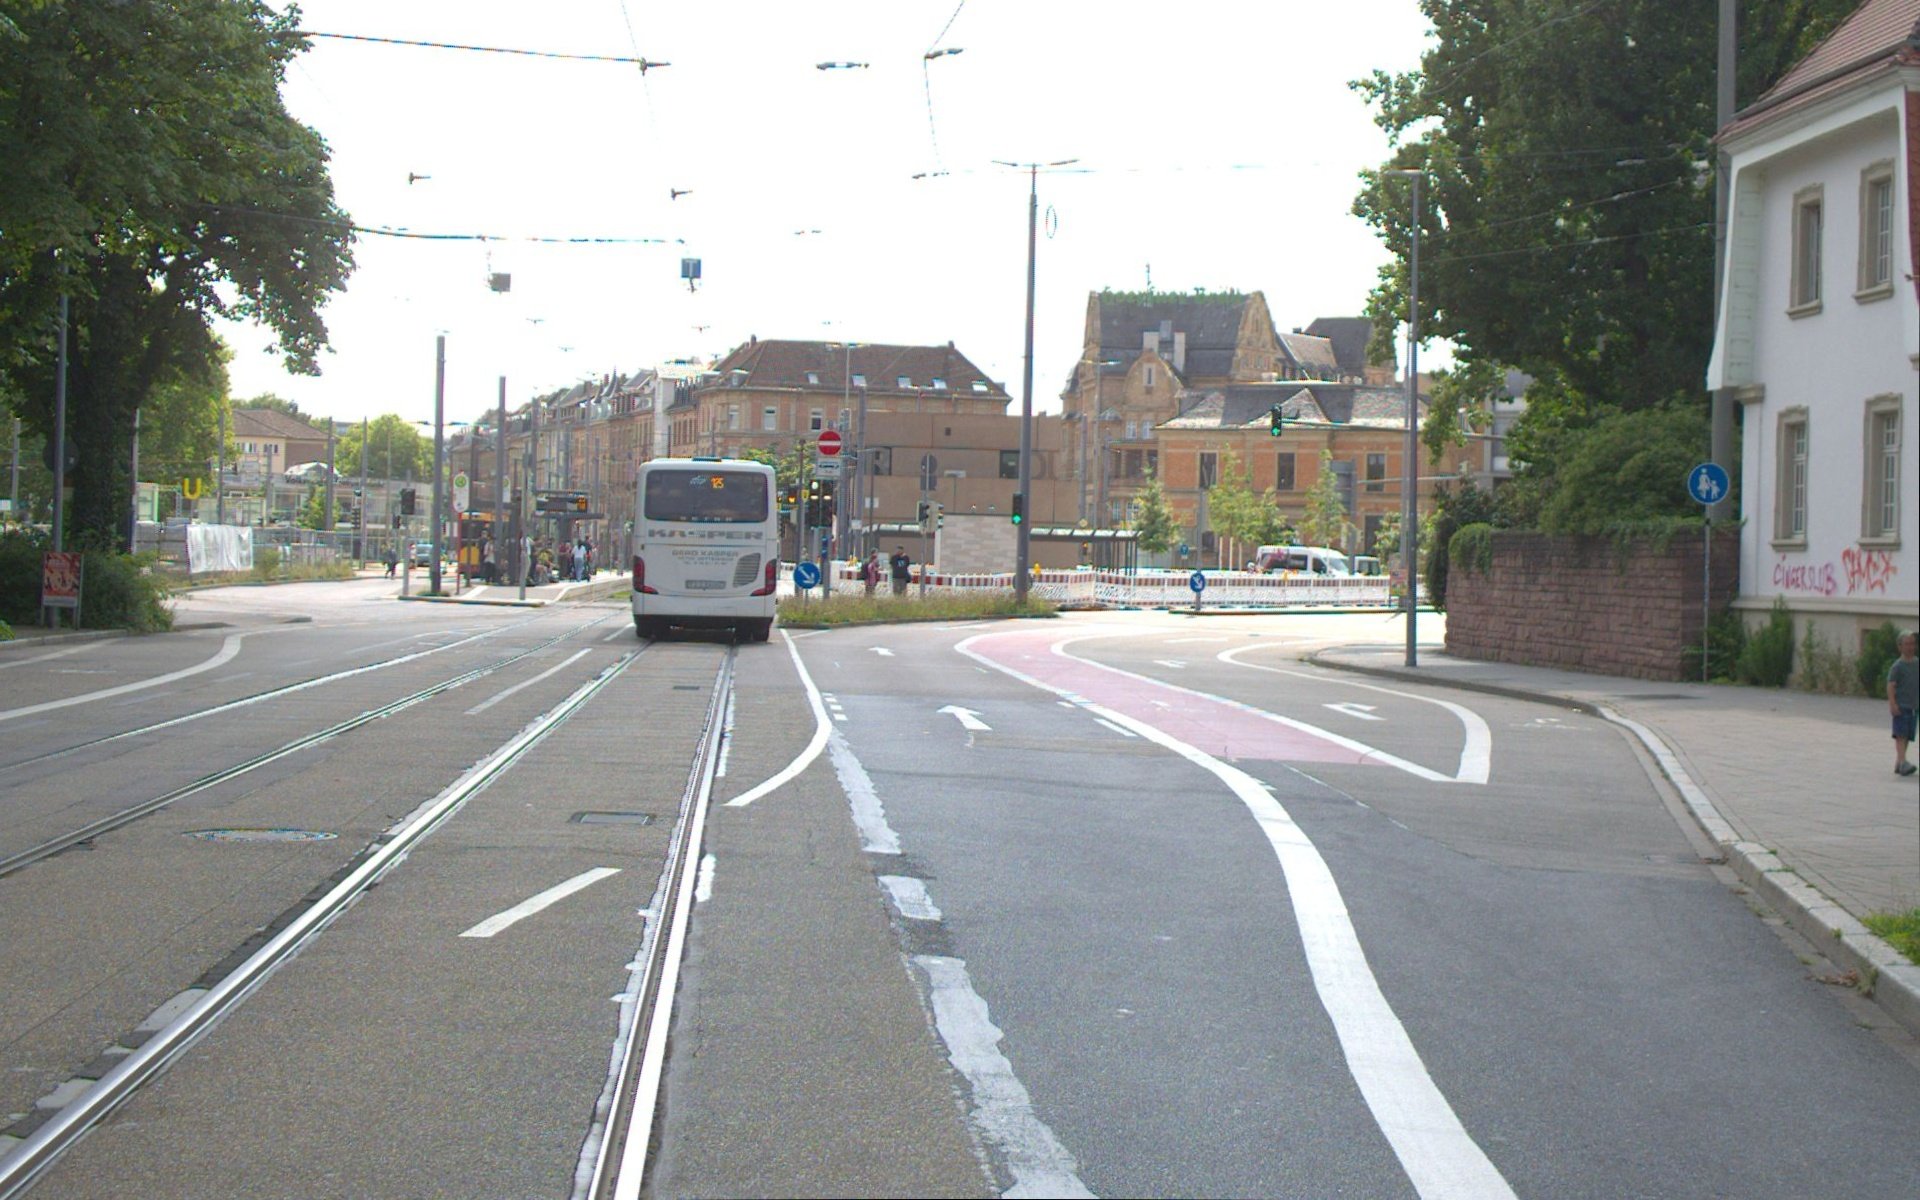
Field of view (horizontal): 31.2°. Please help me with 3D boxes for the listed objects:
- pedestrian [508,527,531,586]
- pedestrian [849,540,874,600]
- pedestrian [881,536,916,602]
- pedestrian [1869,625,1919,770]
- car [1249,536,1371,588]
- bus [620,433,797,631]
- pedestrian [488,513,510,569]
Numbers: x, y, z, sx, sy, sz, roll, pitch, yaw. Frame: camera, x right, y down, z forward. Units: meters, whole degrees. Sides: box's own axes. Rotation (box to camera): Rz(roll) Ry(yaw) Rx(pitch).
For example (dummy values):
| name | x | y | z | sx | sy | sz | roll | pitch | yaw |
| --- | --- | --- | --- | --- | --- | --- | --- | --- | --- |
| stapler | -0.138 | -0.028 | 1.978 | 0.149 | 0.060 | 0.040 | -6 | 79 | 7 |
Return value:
| name | x | y | z | sx | sy | sz | roll | pitch | yaw |
| --- | --- | --- | --- | --- | --- | --- | --- | --- | --- |
| pedestrian | -14.195 | -1.391 | 110.834 | 0.611 | 1.878 | 0.794 | 1 | 1 | -3 |
| pedestrian | -2.820 | -0.866 | 98.307 | 0.611 | 1.701 | 0.623 | 2 | 1 | 3 |
| pedestrian | -1.791 | -0.901 | 100.055 | 0.612 | 1.878 | 0.792 | 2 | 1 | 43 |
| pedestrian | 8.079 | 0.829 | 29.393 | 0.421 | 1.196 | 0.406 | -2 | 3 | -37 |
| car | 16.350 | -1.782 | 160.820 | 2.295 | 2.311 | 5.587 | 1 | 1 | -39 |
| bus | -4.826 | -1.256 | 65.980 | 2.917 | 3.317 | 12.208 | 3 | 0 | -4 |
| pedestrian | -15.531 | -1.992 | 115.769 | 0.611 | 1.878 | 0.794 | 1 | 1 | -3 |
